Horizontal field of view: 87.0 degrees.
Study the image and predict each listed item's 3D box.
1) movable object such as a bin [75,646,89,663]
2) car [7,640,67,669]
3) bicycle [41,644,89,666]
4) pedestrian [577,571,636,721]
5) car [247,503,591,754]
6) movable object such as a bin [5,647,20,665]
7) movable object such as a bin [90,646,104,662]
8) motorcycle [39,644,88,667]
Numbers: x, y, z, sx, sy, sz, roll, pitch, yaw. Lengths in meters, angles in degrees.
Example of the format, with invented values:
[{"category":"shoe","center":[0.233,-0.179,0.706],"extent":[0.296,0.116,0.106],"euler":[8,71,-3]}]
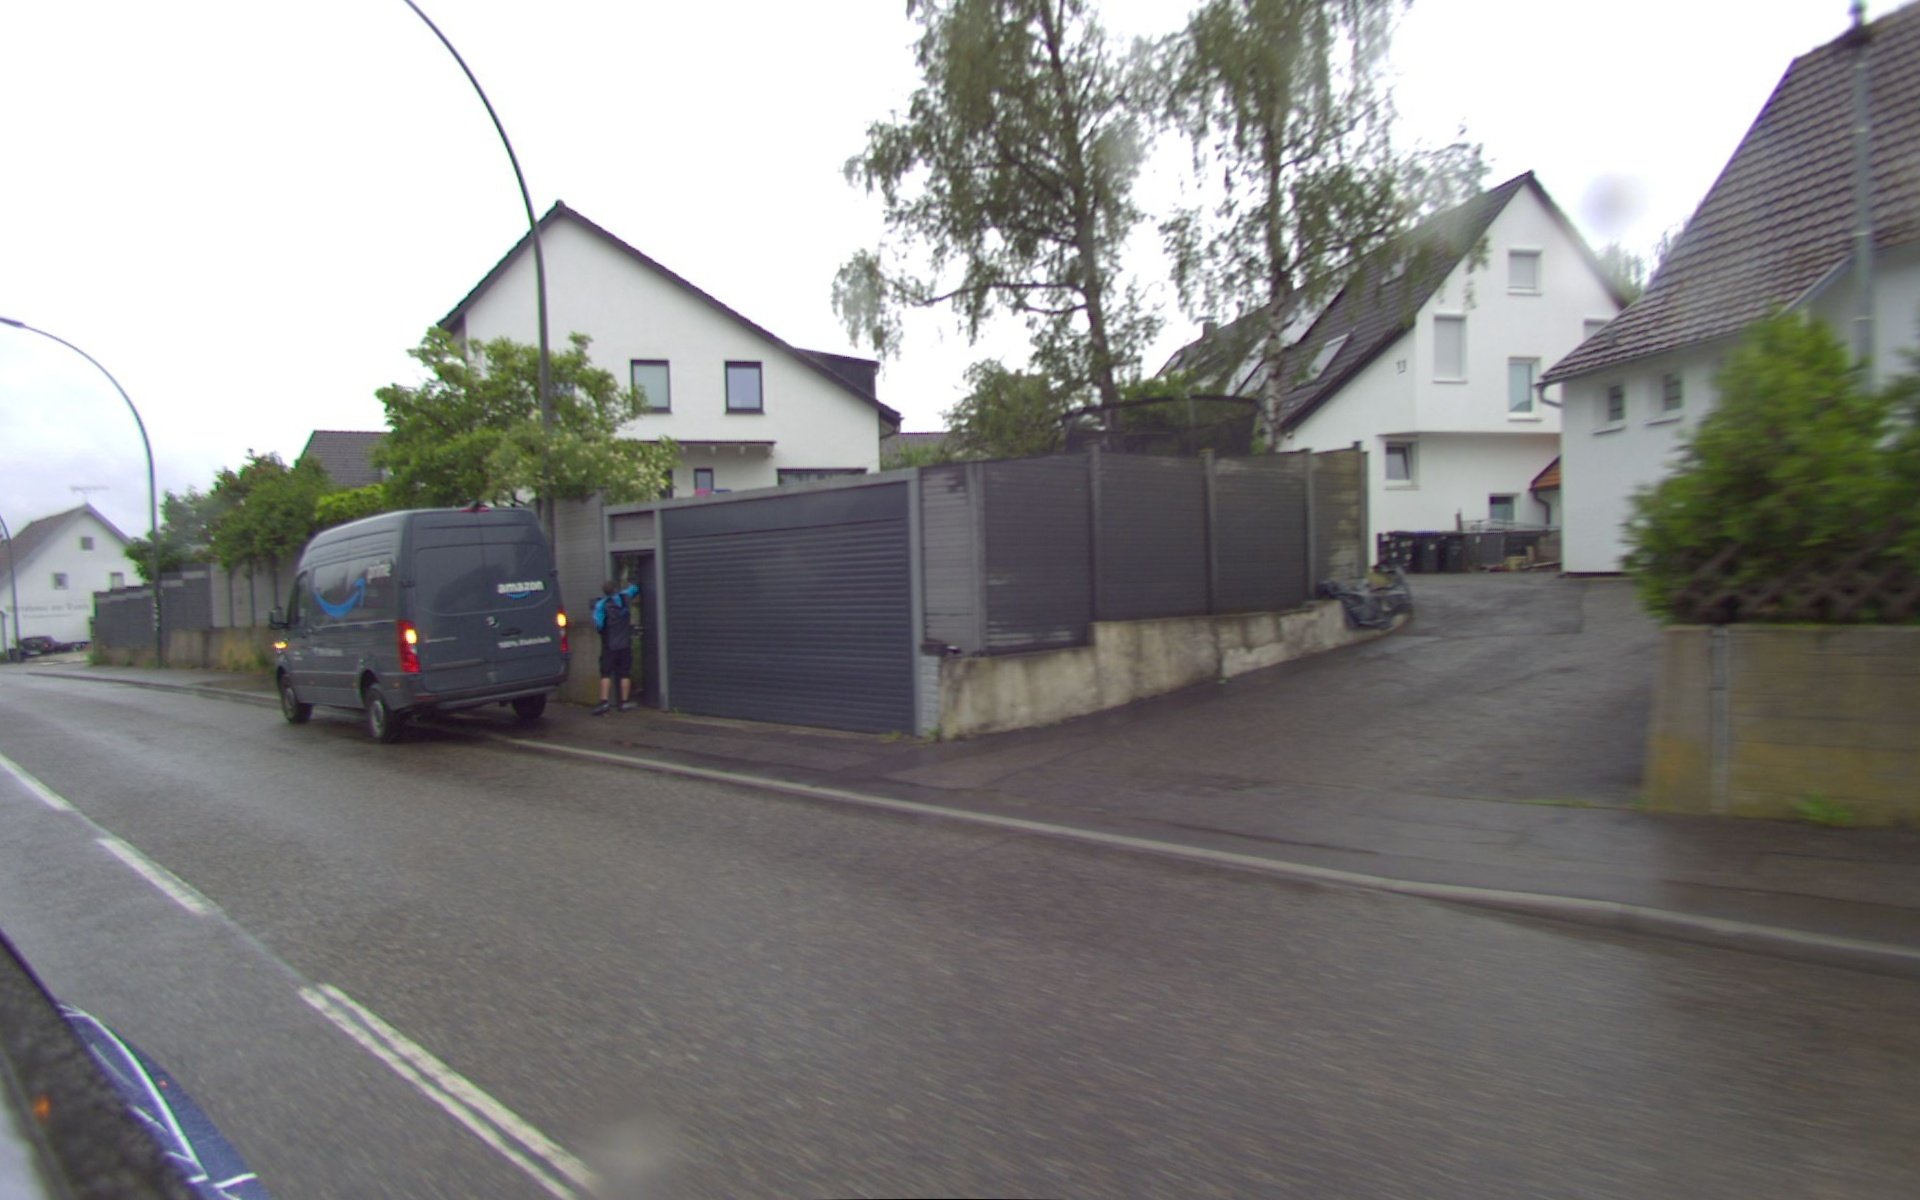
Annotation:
[{"category":"movable object such as a bin","center":[-55.825,3.490,64.371],"extent":[0.629,1.040,0.606],"euler":[0,-3,-37]},{"category":"car","center":[-53.848,3.177,59.089],"extent":[1.876,1.453,3.839],"euler":[-4,0,-32]},{"category":"bicycle","center":[-55.190,3.369,62.452],"extent":[2.070,1.122,0.739],"euler":[-6,3,-34]},{"category":"pedestrian","center":[-4.651,0.580,13.358],"extent":[0.669,1.900,0.812],"euler":[-1,0,-17]},{"category":"car","center":[-7.410,0.327,13.485],"extent":[5.917,2.668,2.072],"euler":[-2,1,42]},{"category":"movable object such as a bin","center":[-58.440,3.451,62.432],"extent":[0.629,1.040,0.675],"euler":[0,-3,-37]},{"category":"movable object such as a bin","center":[-55.271,3.450,64.795],"extent":[0.629,1.040,0.606],"euler":[0,-3,-37]},{"category":"motorcycle","center":[-54.779,3.359,61.847],"extent":[2.083,1.122,0.782],"euler":[-6,3,-34]}]
